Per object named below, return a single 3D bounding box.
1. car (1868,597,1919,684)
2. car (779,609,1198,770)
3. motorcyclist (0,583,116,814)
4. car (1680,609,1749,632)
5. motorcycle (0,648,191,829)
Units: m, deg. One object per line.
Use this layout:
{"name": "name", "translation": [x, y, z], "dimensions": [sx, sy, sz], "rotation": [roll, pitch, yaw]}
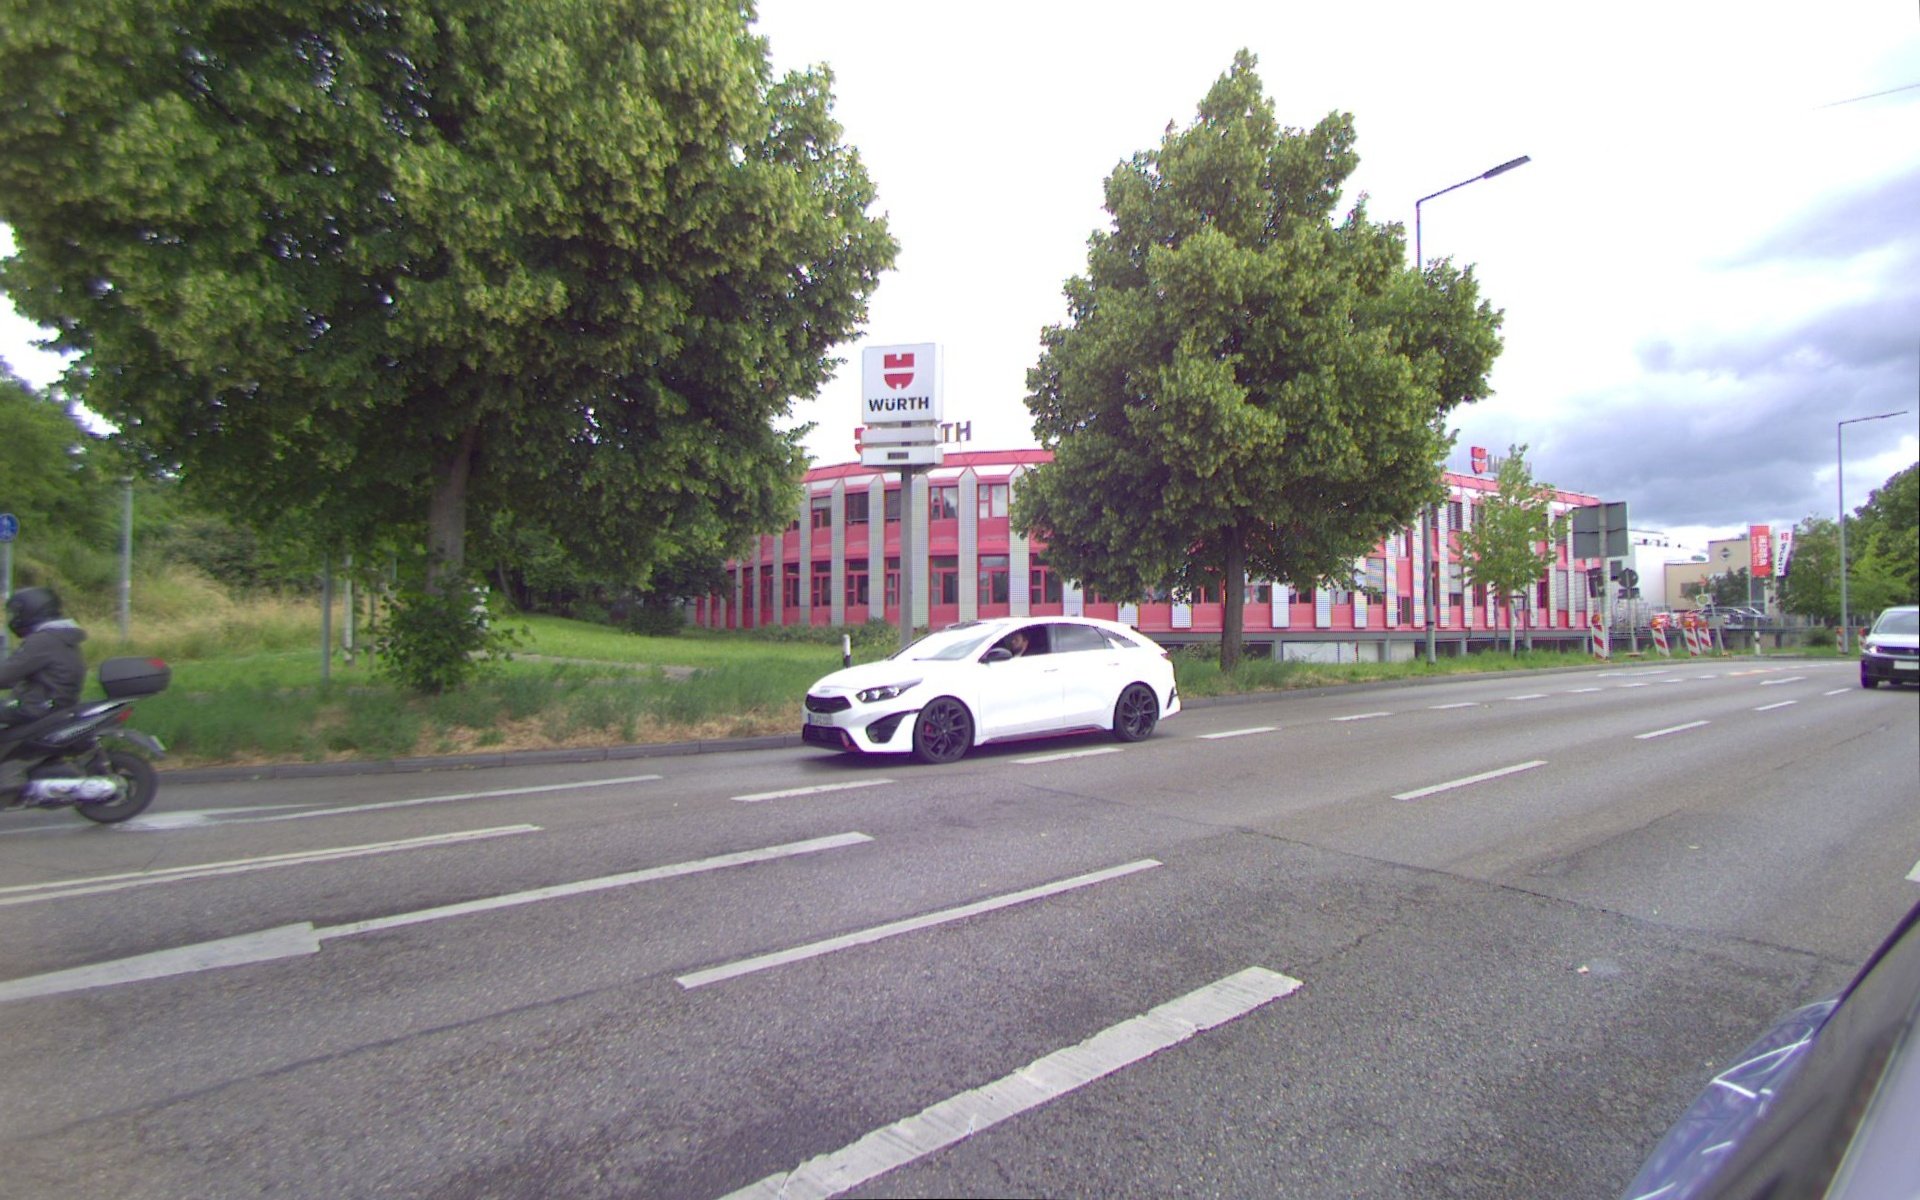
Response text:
{"name": "car", "translation": [21.238, 0.827, 21.784], "dimensions": [4.173, 1.776, 1.783], "rotation": [0, 0, -37]}
{"name": "car", "translation": [0.424, 0.812, 10.995], "dimensions": [4.395, 1.379, 1.786], "rotation": [0, -1, -36]}
{"name": "motorcyclist", "translation": [-6.520, 0.656, 6.946], "dimensions": [0.914, 1.510, 0.751], "rotation": [1, -3, -25]}
{"name": "car", "translation": [61.792, 1.690, 82.962], "dimensions": [1.752, 1.776, 4.247], "rotation": [0, 0, -39]}
{"name": "motorcycle", "translation": [-6.545, 0.925, 6.921], "dimensions": [1.902, 1.162, 0.751], "rotation": [1, -2, -24]}
